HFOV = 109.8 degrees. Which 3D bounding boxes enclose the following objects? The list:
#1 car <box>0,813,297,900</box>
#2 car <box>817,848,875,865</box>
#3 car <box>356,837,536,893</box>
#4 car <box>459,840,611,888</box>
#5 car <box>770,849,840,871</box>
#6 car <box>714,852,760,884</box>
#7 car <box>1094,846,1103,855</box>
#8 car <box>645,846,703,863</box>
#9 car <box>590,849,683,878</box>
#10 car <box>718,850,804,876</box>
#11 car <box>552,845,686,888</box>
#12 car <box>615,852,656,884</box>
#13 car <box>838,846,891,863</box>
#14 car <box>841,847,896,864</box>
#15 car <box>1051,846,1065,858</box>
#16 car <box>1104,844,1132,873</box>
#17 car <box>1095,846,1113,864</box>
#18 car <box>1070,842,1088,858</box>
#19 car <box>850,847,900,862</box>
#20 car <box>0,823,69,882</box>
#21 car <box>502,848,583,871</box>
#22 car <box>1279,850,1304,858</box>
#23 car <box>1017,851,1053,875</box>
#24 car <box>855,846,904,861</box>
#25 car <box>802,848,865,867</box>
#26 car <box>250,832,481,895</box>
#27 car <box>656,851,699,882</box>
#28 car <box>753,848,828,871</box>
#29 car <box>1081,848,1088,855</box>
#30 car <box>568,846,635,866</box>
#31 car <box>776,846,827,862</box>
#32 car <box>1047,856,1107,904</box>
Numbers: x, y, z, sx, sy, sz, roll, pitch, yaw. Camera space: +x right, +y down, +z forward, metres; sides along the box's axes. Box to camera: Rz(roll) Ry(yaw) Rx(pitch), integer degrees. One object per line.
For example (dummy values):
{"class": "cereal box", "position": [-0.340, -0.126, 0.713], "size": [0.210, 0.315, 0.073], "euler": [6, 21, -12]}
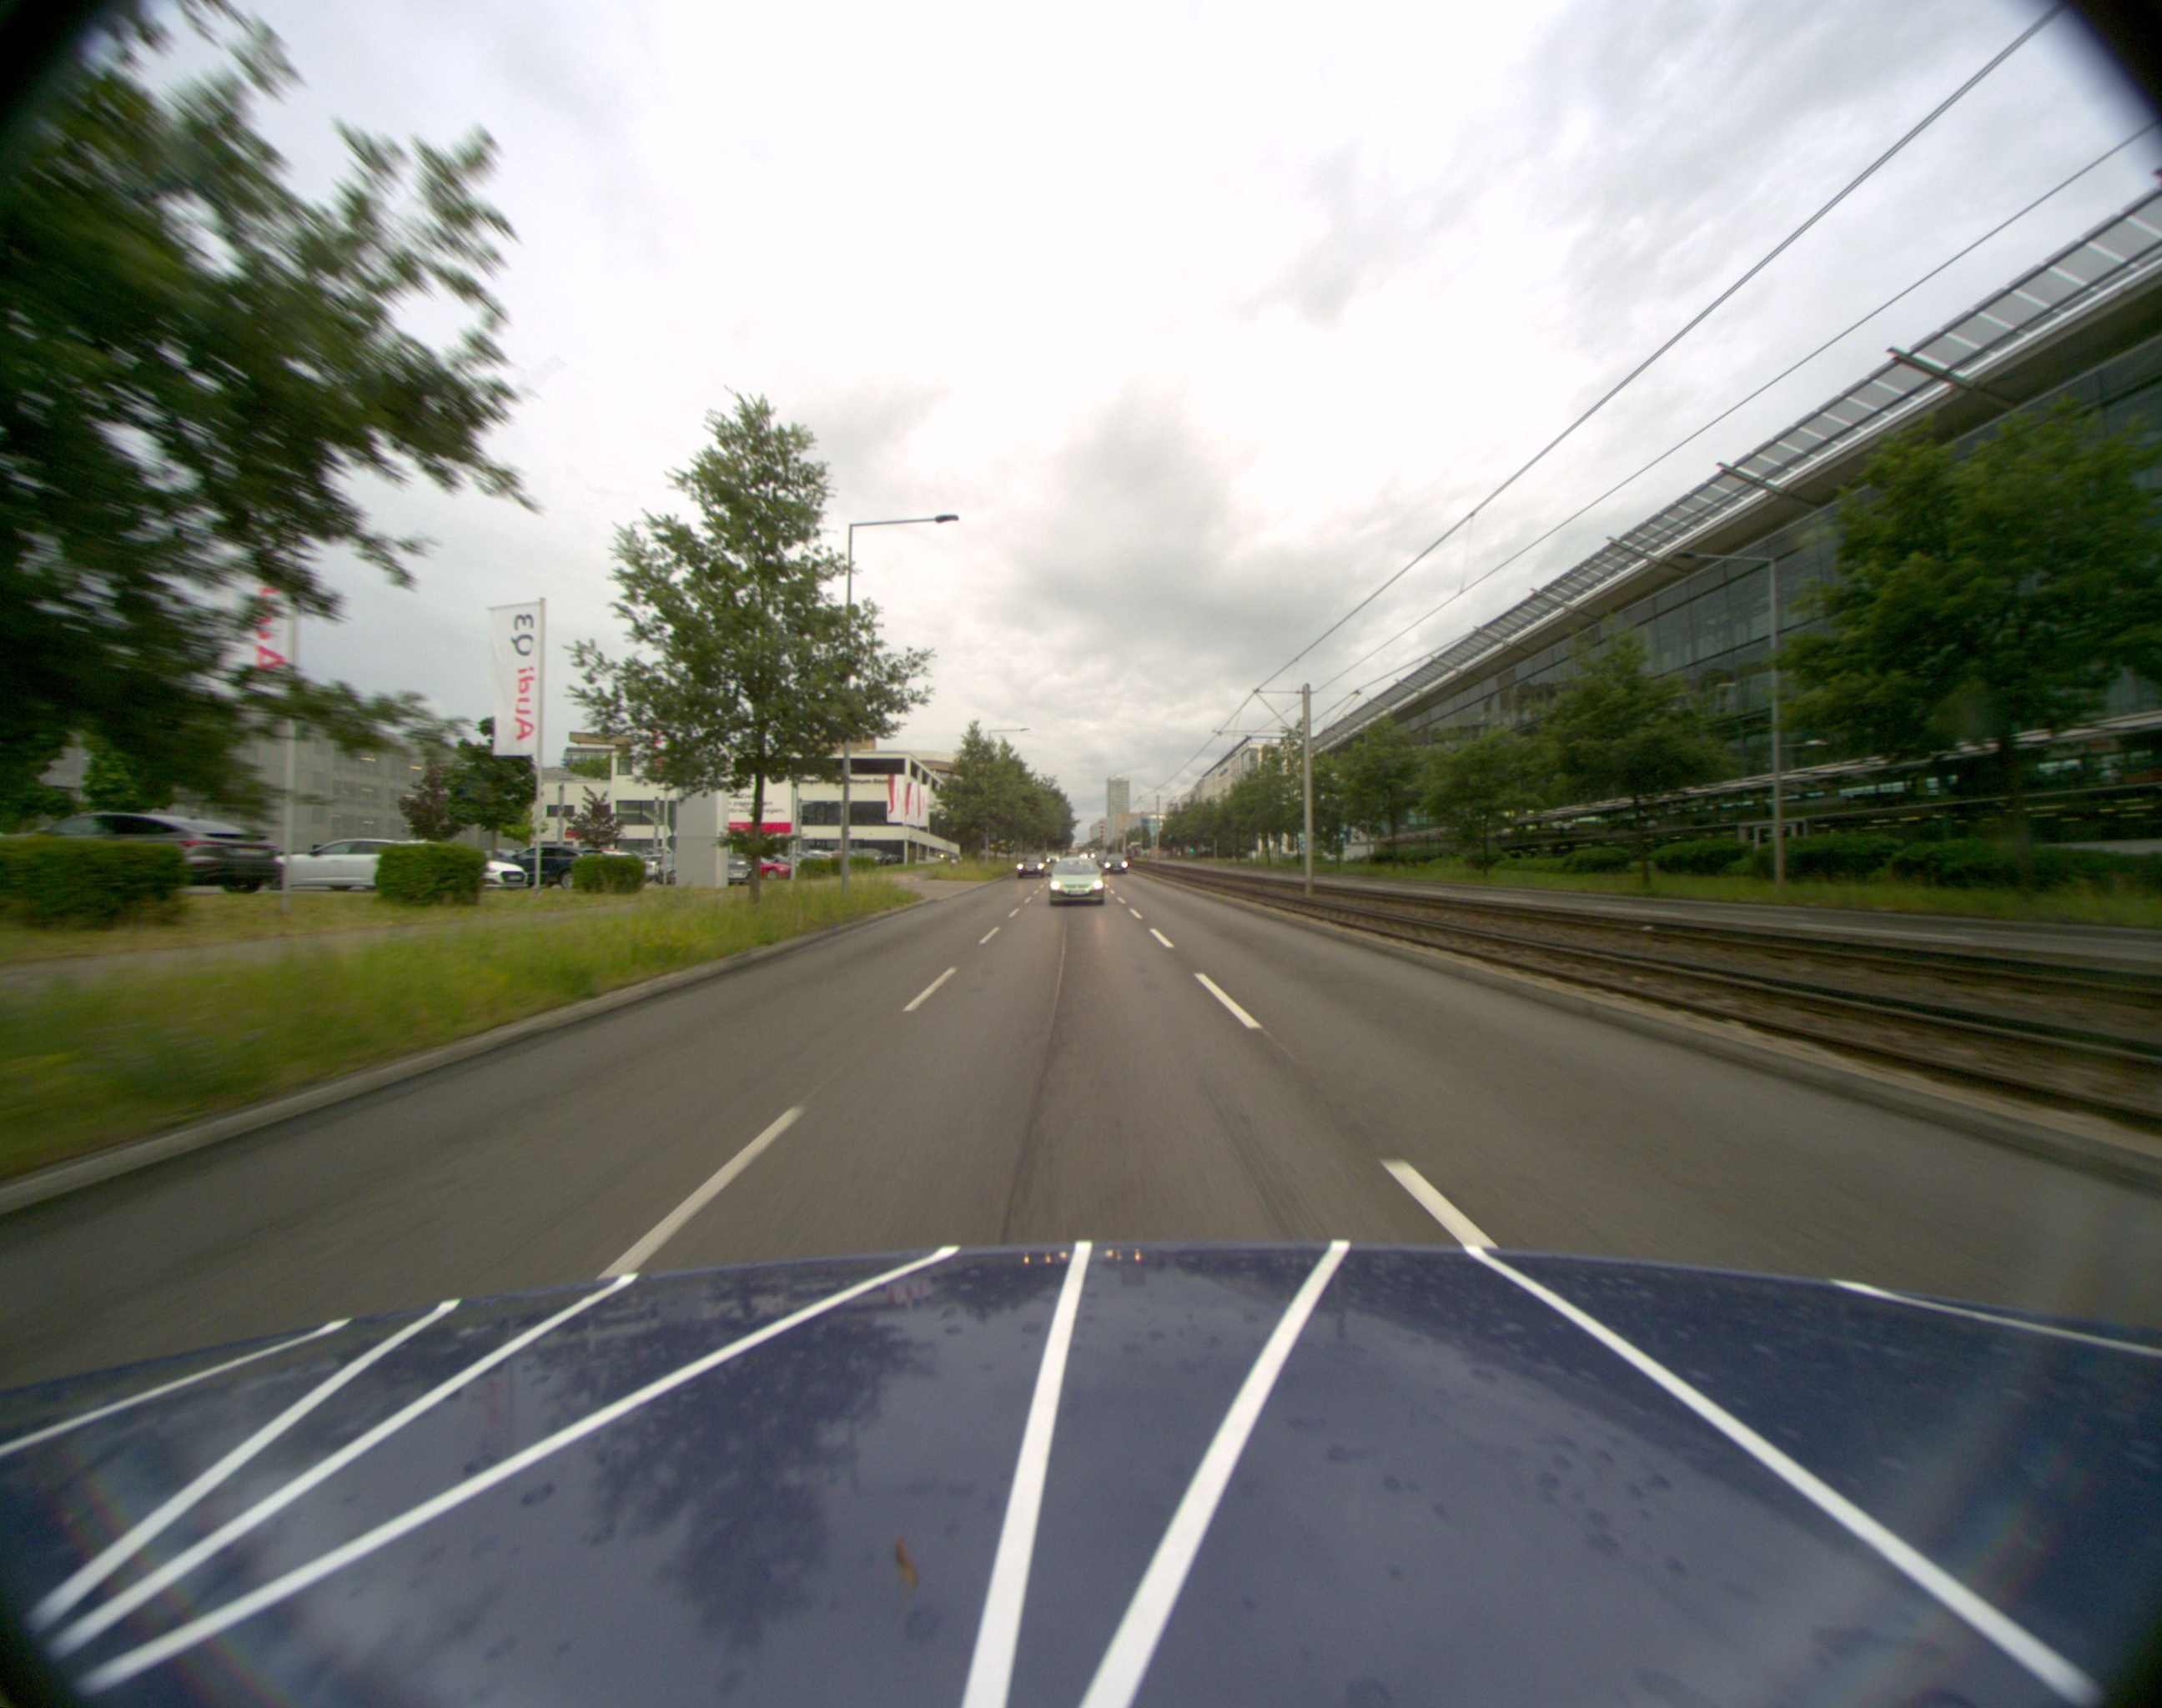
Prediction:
{"class": "car", "position": [-18.899, 0.057, 15.418], "size": [4.116, 1.599, 1.692], "euler": [-1, 0, -1]}
{"class": "car", "position": [-20.130, 0.179, 65.268], "size": [4.409, 1.341, 1.930], "euler": [1, 2, -1]}
{"class": "car", "position": [-19.225, 0.305, 23.104], "size": [4.114, 1.585, 1.692], "euler": [-1, 1, 4]}
{"class": "car", "position": [-19.740, 0.361, 27.596], "size": [4.116, 1.584, 1.871], "euler": [-1, -1, -1]}
{"class": "car", "position": [-20.324, 0.402, 56.083], "size": [4.473, 1.520, 1.930], "euler": [1, 1, -1]}
{"class": "car", "position": [-19.286, 0.744, 42.514], "size": [1.841, 1.584, 4.349], "euler": [-1, 1, -31]}
{"class": "car", "position": [4.144, -0.760, 178.813], "size": [1.998, 2.002, 3.999], "euler": [-2, 1, 1]}
{"class": "car", "position": [-37.680, 0.043, 70.425], "size": [4.288, 1.584, 1.826], "euler": [0, 1, -3]}
{"class": "car", "position": [-26.943, 0.569, 46.171], "size": [4.475, 1.542, 1.930], "euler": [2, 1, -5]}
{"class": "car", "position": [-19.798, 0.551, 47.164], "size": [4.474, 1.542, 1.930], "euler": [0, 1, -5]}
{"class": "car", "position": [-18.544, 0.475, 30.689], "size": [4.119, 1.585, 1.946], "euler": [-1, 2, -8]}
{"class": "car", "position": [-24.490, 0.741, 41.729], "size": [1.775, 1.584, 3.983], "euler": [2, 0, -32]}
{"class": "car", "position": [-20.186, 0.043, 71.046], "size": [4.409, 1.492, 2.039], "euler": [1, 1, 0]}
{"class": "car", "position": [-18.996, 0.118, 68.062], "size": [4.409, 1.419, 1.890], "euler": [1, 1, 0]}
{"class": "car", "position": [-3.607, -0.260, 119.559], "size": [1.860, 1.799, 4.115], "euler": [-1, -1, 2]}
{"class": "car", "position": [2.813, 0.315, 58.191], "size": [1.998, 2.002, 4.000], "euler": [-2, 1, 3]}
{"class": "car", "position": [2.489, 0.158, 82.618], "size": [1.860, 1.799, 4.115], "euler": [-1, -1, 2]}
{"class": "car", "position": [-0.198, -0.505, 98.322], "size": [1.998, 2.002, 4.000], "euler": [-2, 1, 3]}
{"class": "car", "position": [-20.017, 0.027, 73.980], "size": [4.331, 1.370, 1.836], "euler": [0, 1, -3]}
{"class": "car", "position": [-30.409, -0.006, 20.380], "size": [4.116, 1.565, 1.692], "euler": [-1, 1, -1]}
{"class": "car", "position": [-37.533, 0.380, 53.031], "size": [4.288, 1.584, 1.826], "euler": [0, 1, -3]}
{"class": "car", "position": [37.434, -0.026, 134.974], "size": [3.990, 1.383, 1.806], "euler": [-1, 1, 27]}
{"class": "car", "position": [-3.221, 0.654, 53.947], "size": [1.828, 1.599, 4.116], "euler": [-1, -1, 6]}
{"class": "car", "position": [-20.433, -0.101, 77.127], "size": [4.409, 1.473, 1.930], "euler": [0, 1, -1]}
{"class": "car", "position": [-20.156, 0.268, 61.914], "size": [4.473, 1.447, 1.930], "euler": [0, 1, -1]}
{"class": "car", "position": [-19.173, 0.236, 20.506], "size": [4.531, 1.585, 1.692], "euler": [0, 1, -1]}
{"class": "car", "position": [-22.208, 0.674, 41.738], "size": [1.775, 1.584, 3.552], "euler": [2, 0, -32]}
{"class": "car", "position": [-20.264, 0.376, 53.100], "size": [4.473, 1.542, 1.930], "euler": [1, 1, -1]}
{"class": "car", "position": [1.157, -0.809, 227.124], "size": [1.998, 1.838, 3.999], "euler": [-2, 1, 1]}
{"class": "car", "position": [-39.039, 0.181, 61.931], "size": [4.288, 1.584, 1.826], "euler": [0, 1, -3]}
{"class": "car", "position": [-27.023, -0.009, 73.491], "size": [4.288, 1.542, 1.826], "euler": [0, 1, -3]}
{"class": "car", "position": [-0.051, 0.856, 26.617], "size": [1.828, 1.499, 4.115], "euler": [-2, -1, 3]}
